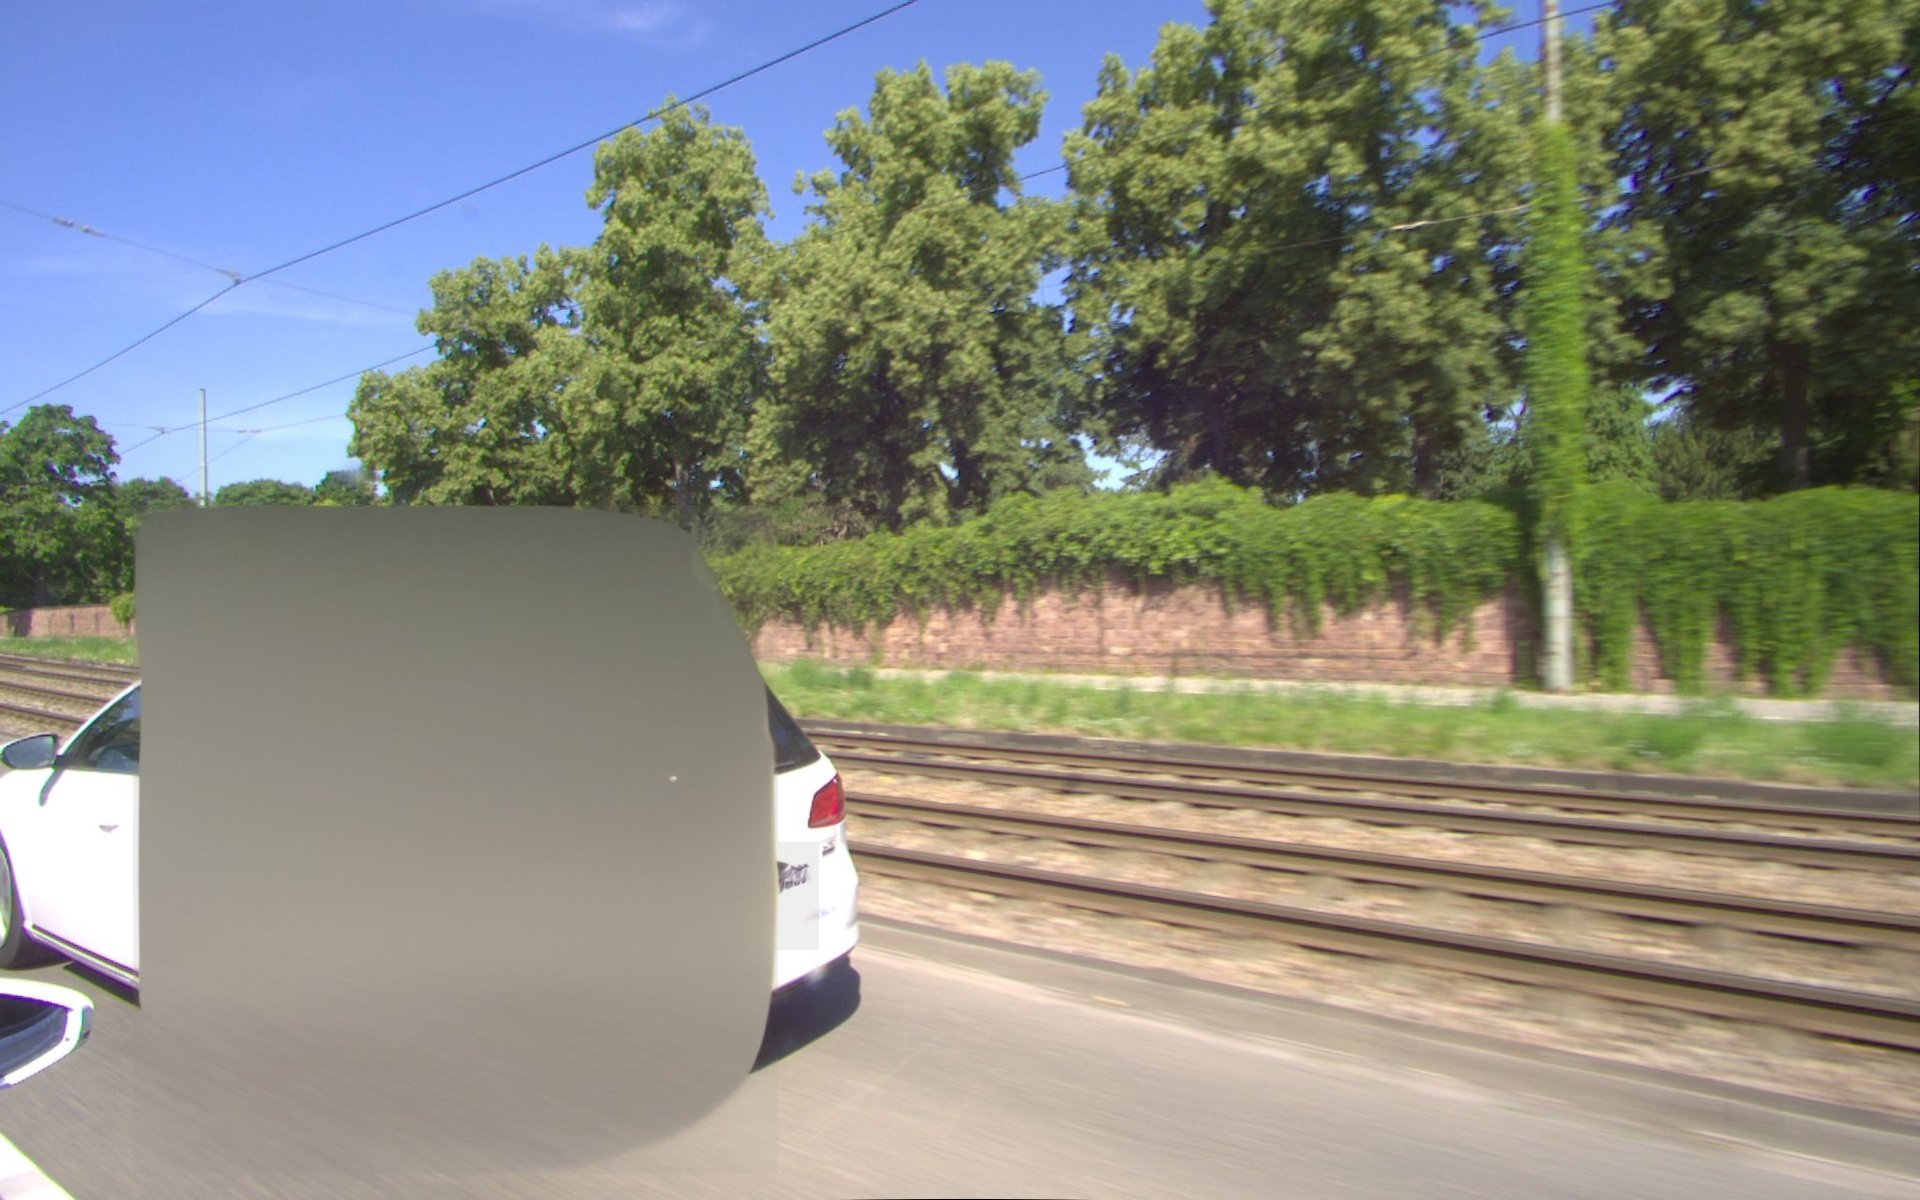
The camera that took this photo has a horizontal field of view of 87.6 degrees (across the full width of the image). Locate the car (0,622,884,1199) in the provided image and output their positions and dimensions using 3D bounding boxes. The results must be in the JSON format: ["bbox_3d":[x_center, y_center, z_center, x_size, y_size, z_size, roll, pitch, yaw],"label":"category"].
[{"bbox_3d":[-2.577,0.841,4.258,4.395,1.470,1.688,-1,-1,33],"label":"car"}]
